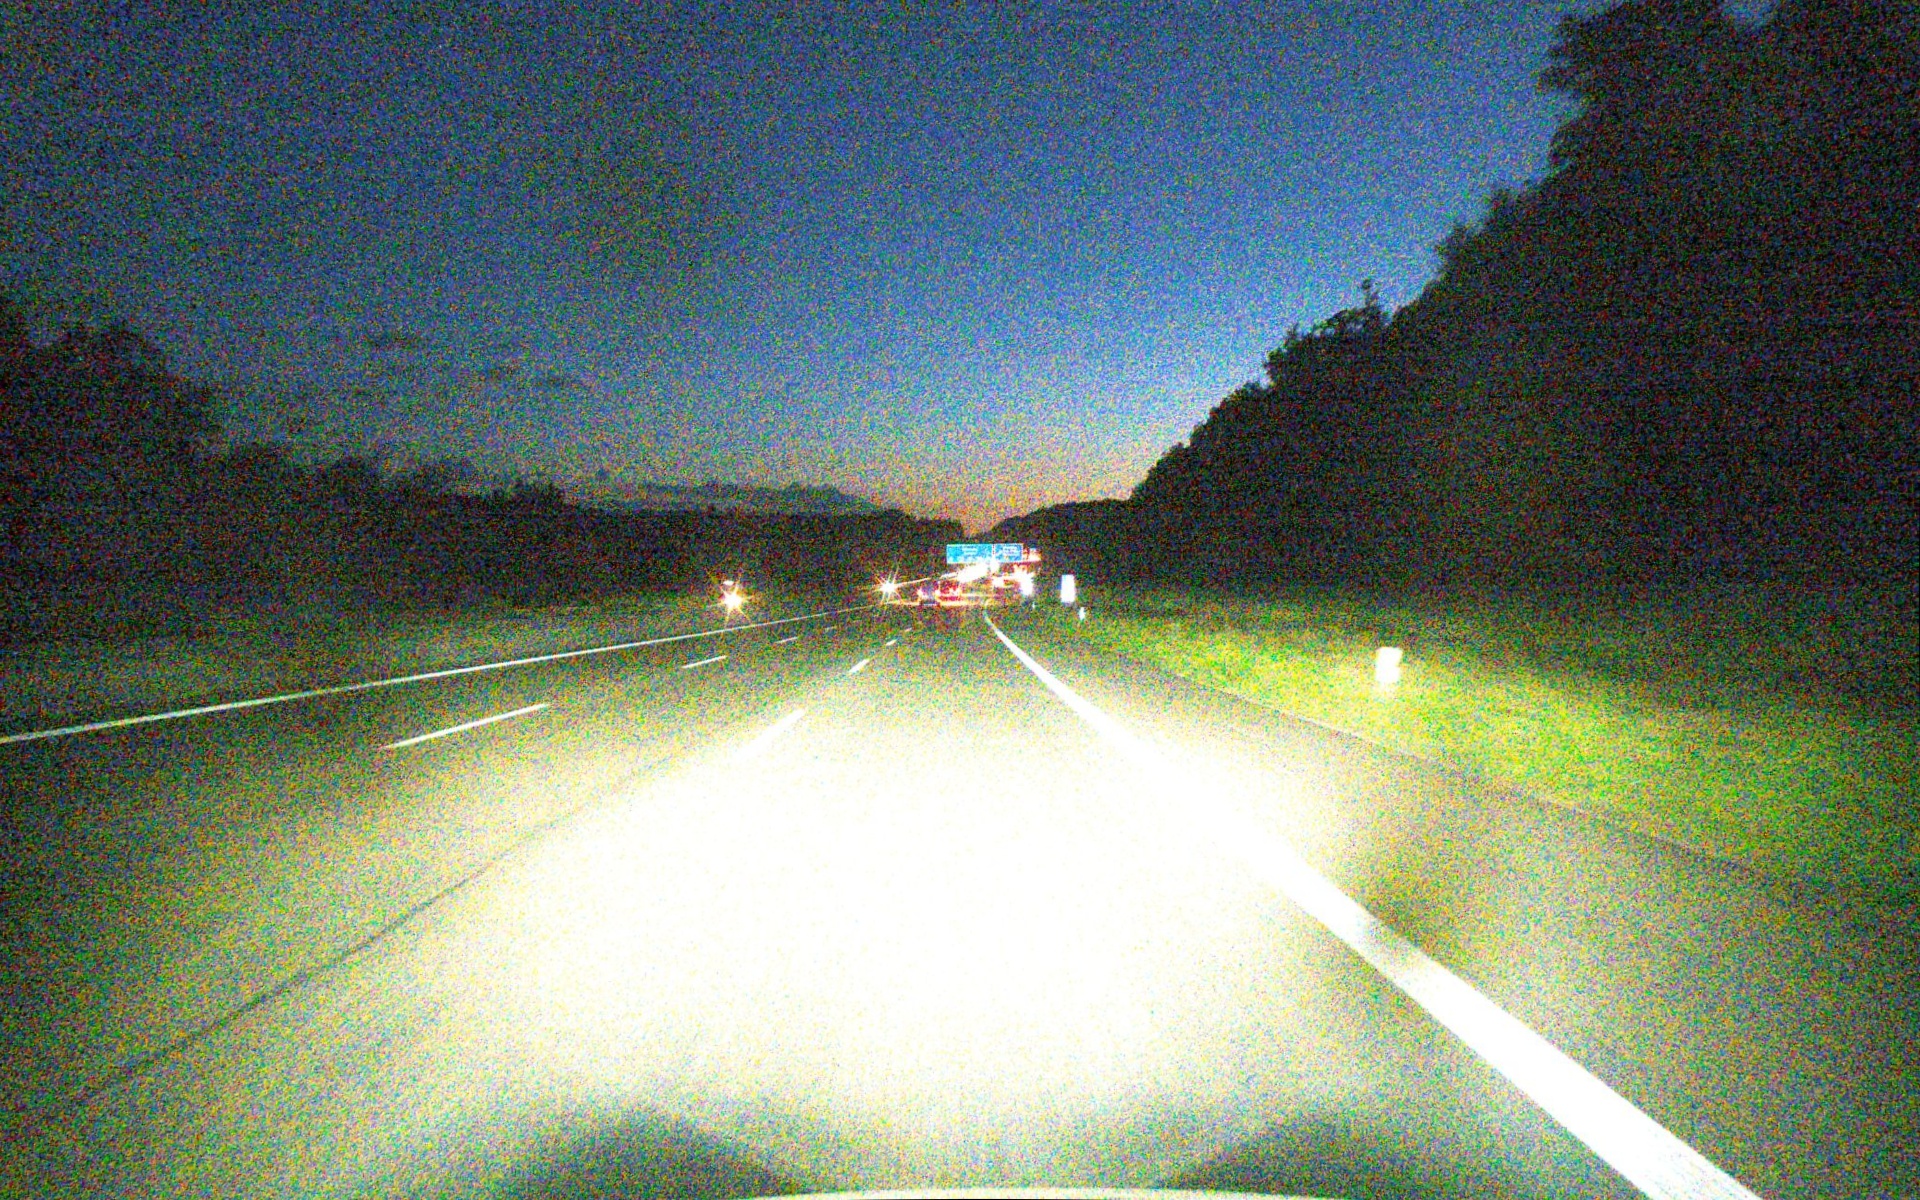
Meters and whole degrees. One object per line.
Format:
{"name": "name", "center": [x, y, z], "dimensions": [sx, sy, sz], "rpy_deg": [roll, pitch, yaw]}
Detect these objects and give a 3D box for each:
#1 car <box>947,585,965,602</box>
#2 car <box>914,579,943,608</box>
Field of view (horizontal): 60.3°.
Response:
{"name": "car", "center": [-0.654, -1.019, 262.850], "dimensions": [2.729, 2.781, 6.299], "rpy_deg": [0, 0, 0]}
{"name": "car", "center": [-3.138, -0.617, 164.930], "dimensions": [2.730, 2.781, 6.297], "rpy_deg": [0, 0, -1]}
